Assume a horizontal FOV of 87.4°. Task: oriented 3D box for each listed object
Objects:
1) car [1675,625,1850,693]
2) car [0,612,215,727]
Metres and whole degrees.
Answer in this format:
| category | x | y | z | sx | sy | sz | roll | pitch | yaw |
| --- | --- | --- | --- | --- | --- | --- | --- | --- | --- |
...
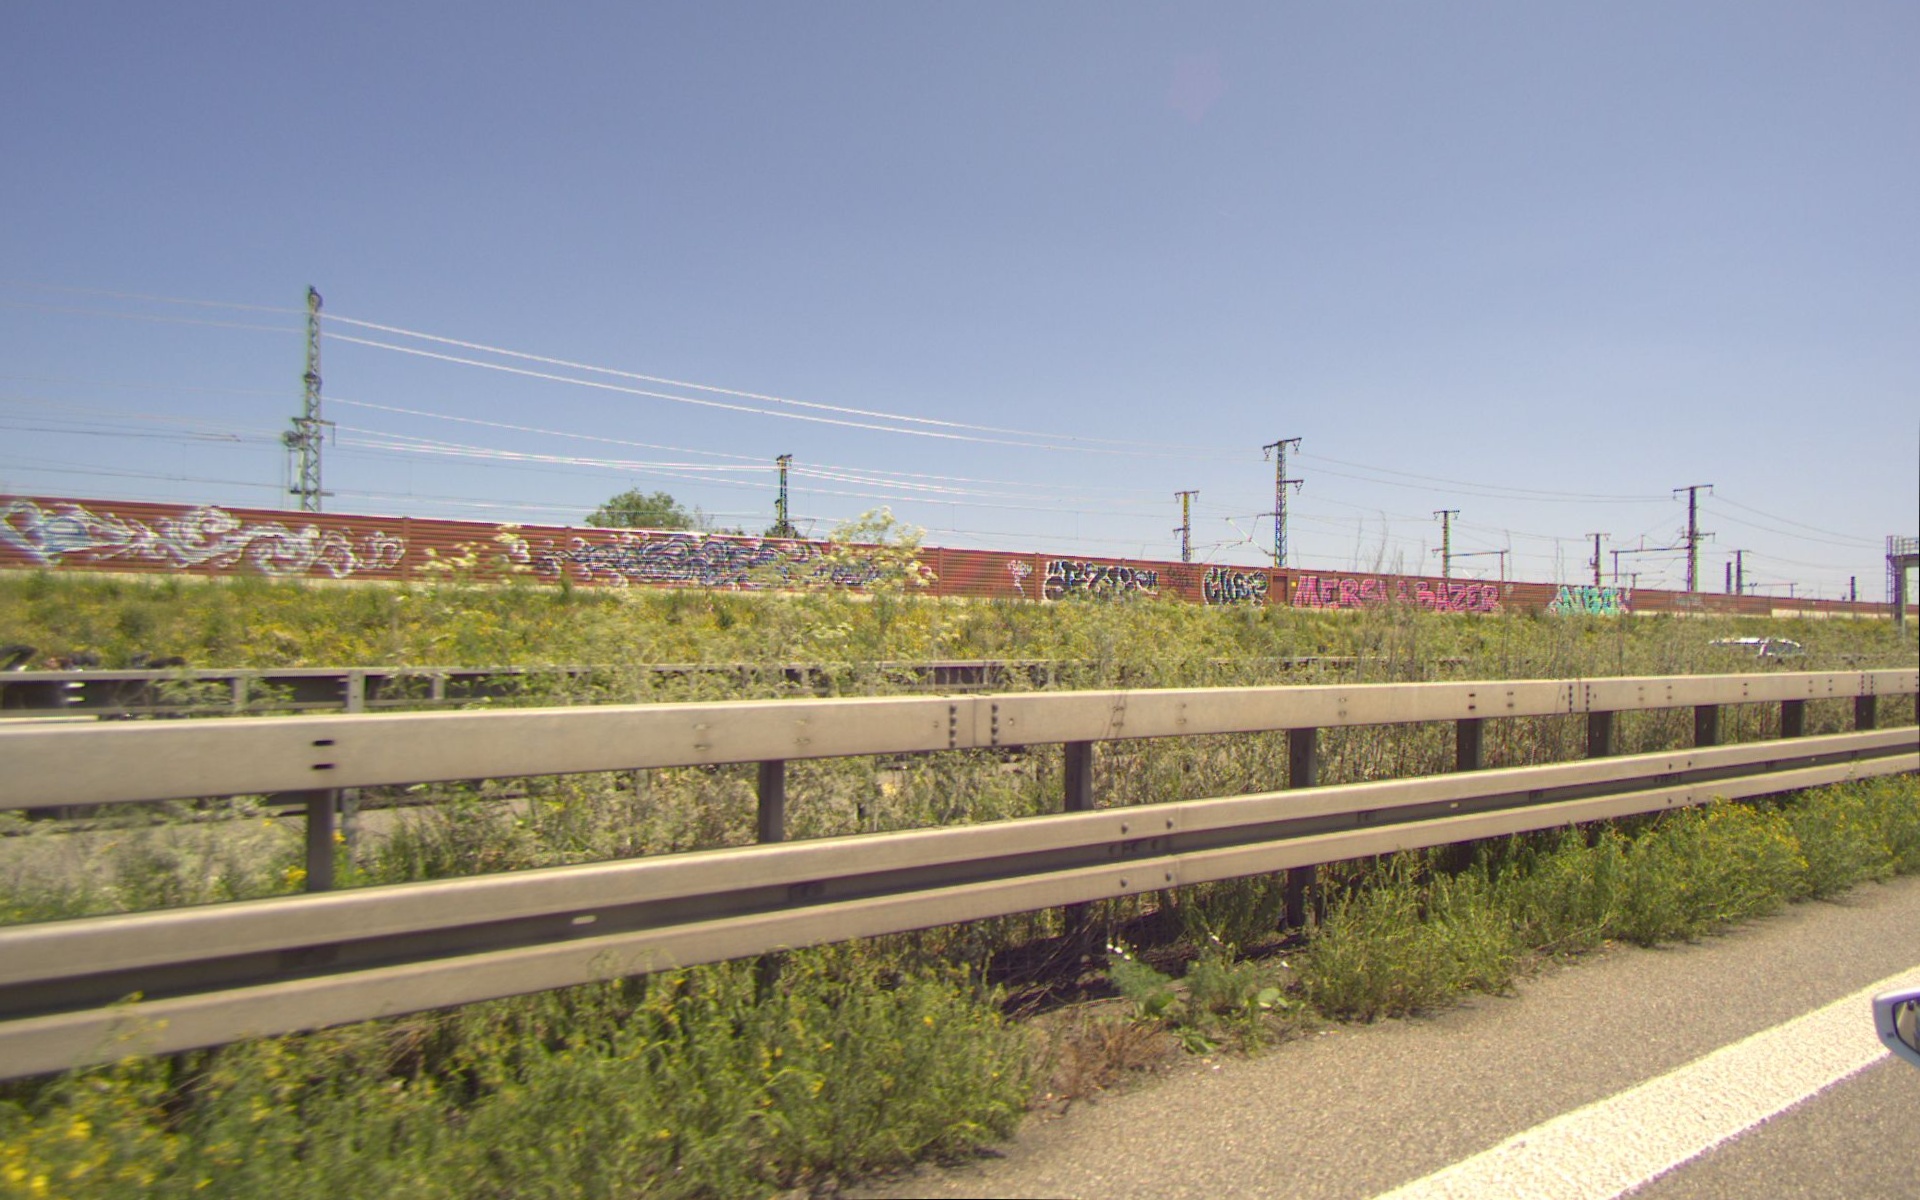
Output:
| category | x | y | z | sx | sy | sz | roll | pitch | yaw |
| --- | --- | --- | --- | --- | --- | --- | --- | --- | --- |
| car | 20.565 | 1.457 | 25.691 | 4.752 | 1.565 | 1.904 | 1 | -1 | -30 |
| car | -13.441 | 0.981 | 14.767 | 3.764 | 1.565 | 1.712 | 1 | -1 | -30 |
